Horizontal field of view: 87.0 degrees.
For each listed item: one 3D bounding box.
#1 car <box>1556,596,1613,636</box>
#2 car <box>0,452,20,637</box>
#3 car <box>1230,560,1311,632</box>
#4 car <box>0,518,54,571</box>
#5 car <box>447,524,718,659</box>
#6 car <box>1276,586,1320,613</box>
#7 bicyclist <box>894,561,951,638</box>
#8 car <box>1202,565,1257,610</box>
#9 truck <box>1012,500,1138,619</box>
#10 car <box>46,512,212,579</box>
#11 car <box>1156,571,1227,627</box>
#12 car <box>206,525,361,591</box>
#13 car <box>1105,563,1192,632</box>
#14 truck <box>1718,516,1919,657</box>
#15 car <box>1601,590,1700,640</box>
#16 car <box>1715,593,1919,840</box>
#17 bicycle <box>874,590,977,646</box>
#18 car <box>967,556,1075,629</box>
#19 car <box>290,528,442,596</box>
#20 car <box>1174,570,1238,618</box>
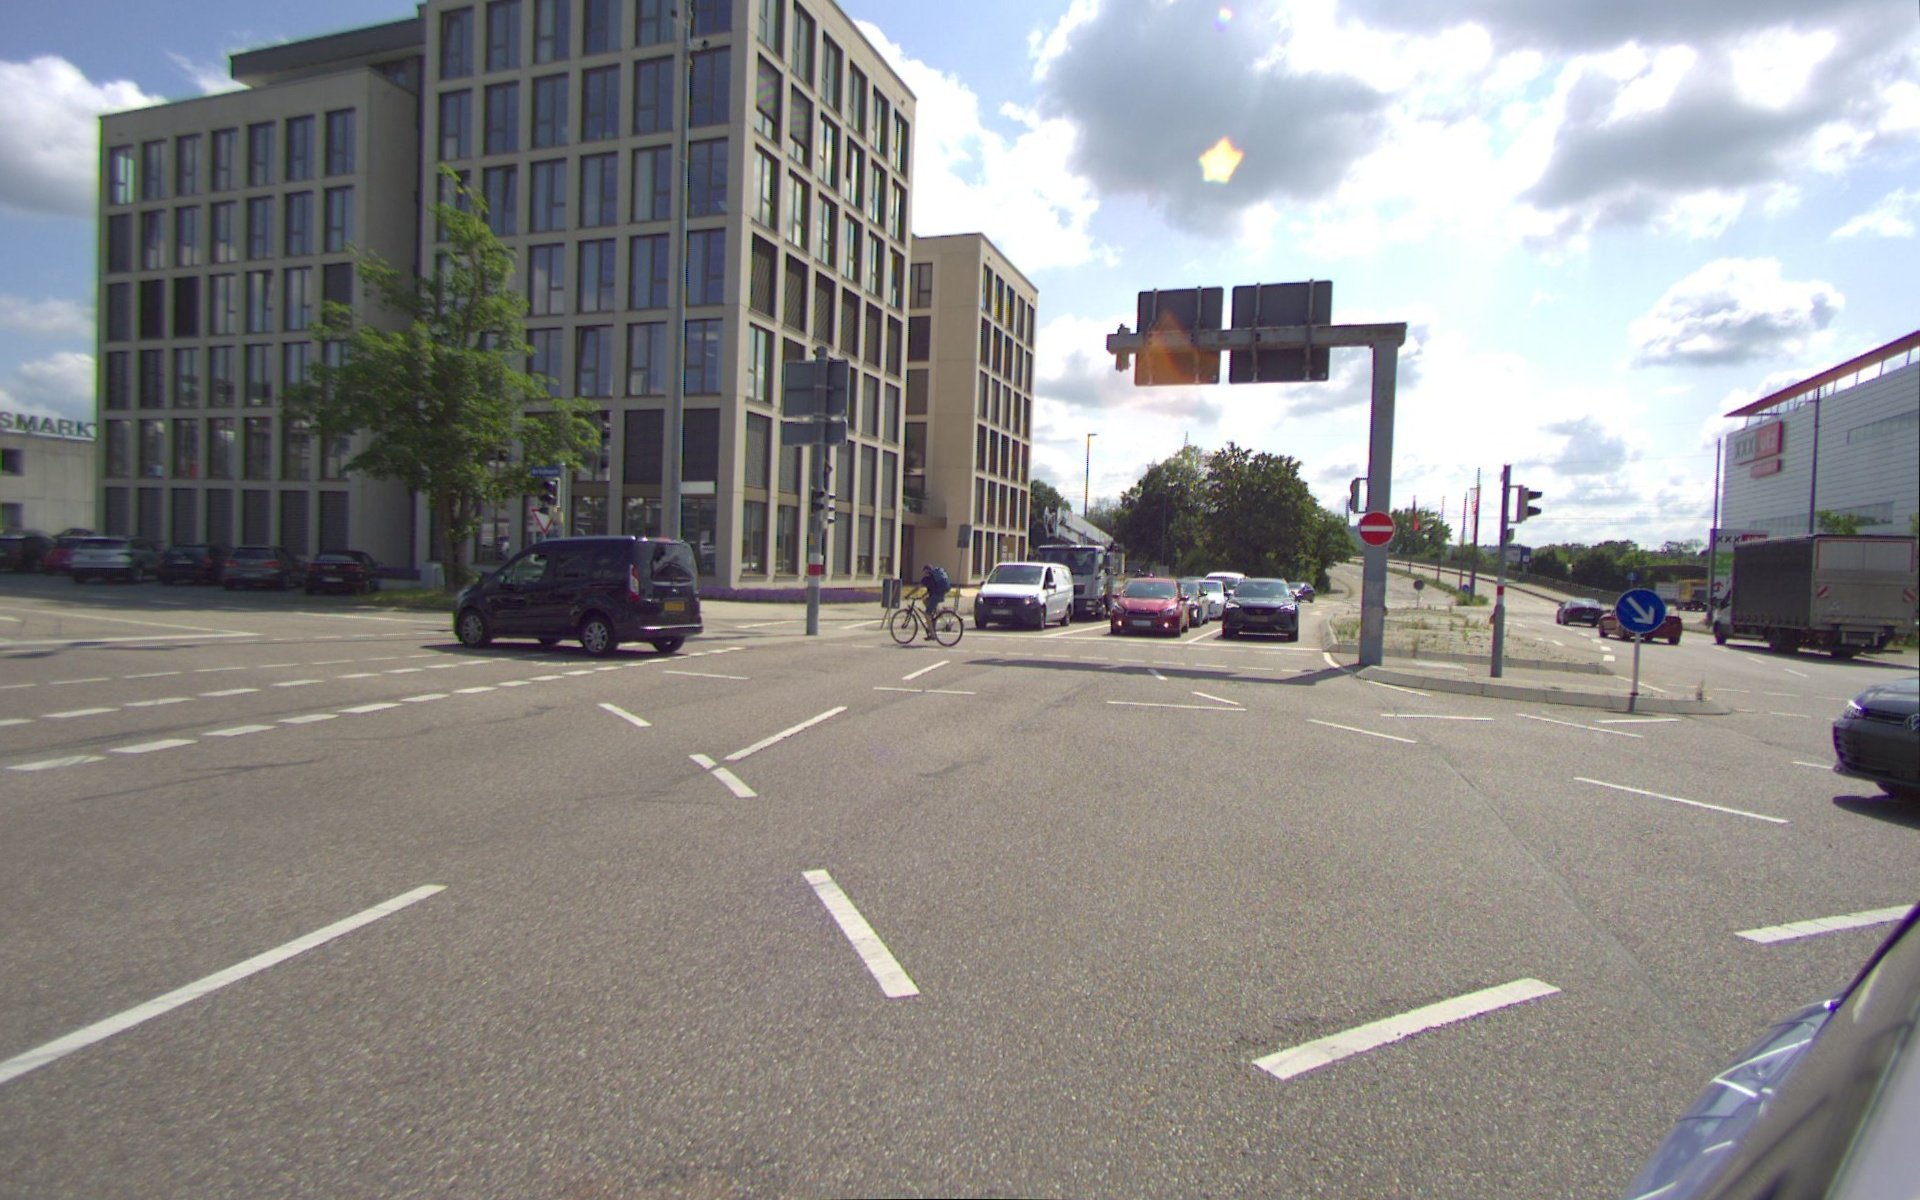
[{"bbox_3d":[31.189,0.822,50.643,1.845,1.677,4.181,3,-3,24],"label":"car"},{"bbox_3d":[-17.117,-0.887,15.262,6.798,2.640,2.119,2,0,27],"label":"car"},{"bbox_3d":[7.927,-0.108,25.902,1.803,1.647,4.189,1,0,17],"label":"car"},{"bbox_3d":[-39.088,-2.264,40.331,1.972,2.039,3.979,1,0,16],"label":"car"},{"bbox_3d":[-6.090,-0.193,16.322,3.957,1.928,1.814,2,1,24],"label":"car"},{"bbox_3d":[24.435,-0.030,73.089,1.816,1.861,4.389,1,0,35],"label":"car"},{"bbox_3d":[-0.738,-0.017,20.020,0.907,1.496,0.632,1,0,27],"label":"bicyclist"},{"bbox_3d":[12.042,-0.540,45.045,1.807,1.861,4.412,1,0,22],"label":"car"},{"bbox_3d":[4.344,-1.257,35.796,2.639,3.600,9.728,1,0,17],"label":"truck"},{"bbox_3d":[-28.413,-1.816,34.748,1.972,2.039,3.979,1,0,16],"label":"car"},{"bbox_3d":[7.504,-0.043,32.570,1.804,1.647,4.186,2,0,19],"label":"car"},{"bbox_3d":[-22.639,-1.364,34.045,1.972,2.039,3.979,1,0,16],"label":"car"},{"bbox_3d":[5.054,-0.062,26.712,1.803,1.647,4.189,1,0,17],"label":"car"},{"bbox_3d":[28.706,-0.389,33.758,3.185,4.078,9.002,1,0,22],"label":"truck"},{"bbox_3d":[25.068,0.526,36.898,1.841,1.676,4.193,1,0,18],"label":"car"},{"bbox_3d":[8.412,0.792,7.008,5.101,1.496,1.816,2,1,-4],"label":"car"},{"bbox_3d":[-0.694,0.333,19.985,1.960,1.024,0.643,2,0,29],"label":"bicycle"},{"bbox_3d":[1.847,-0.203,28.778,1.973,1.861,4.965,1,0,17],"label":"car"},{"bbox_3d":[-19.185,-1.180,32.895,1.972,2.039,3.979,1,0,16],"label":"car"},{"bbox_3d":[9.295,-0.207,38.031,1.806,1.647,4.182,2,0,21],"label":"car"}]
